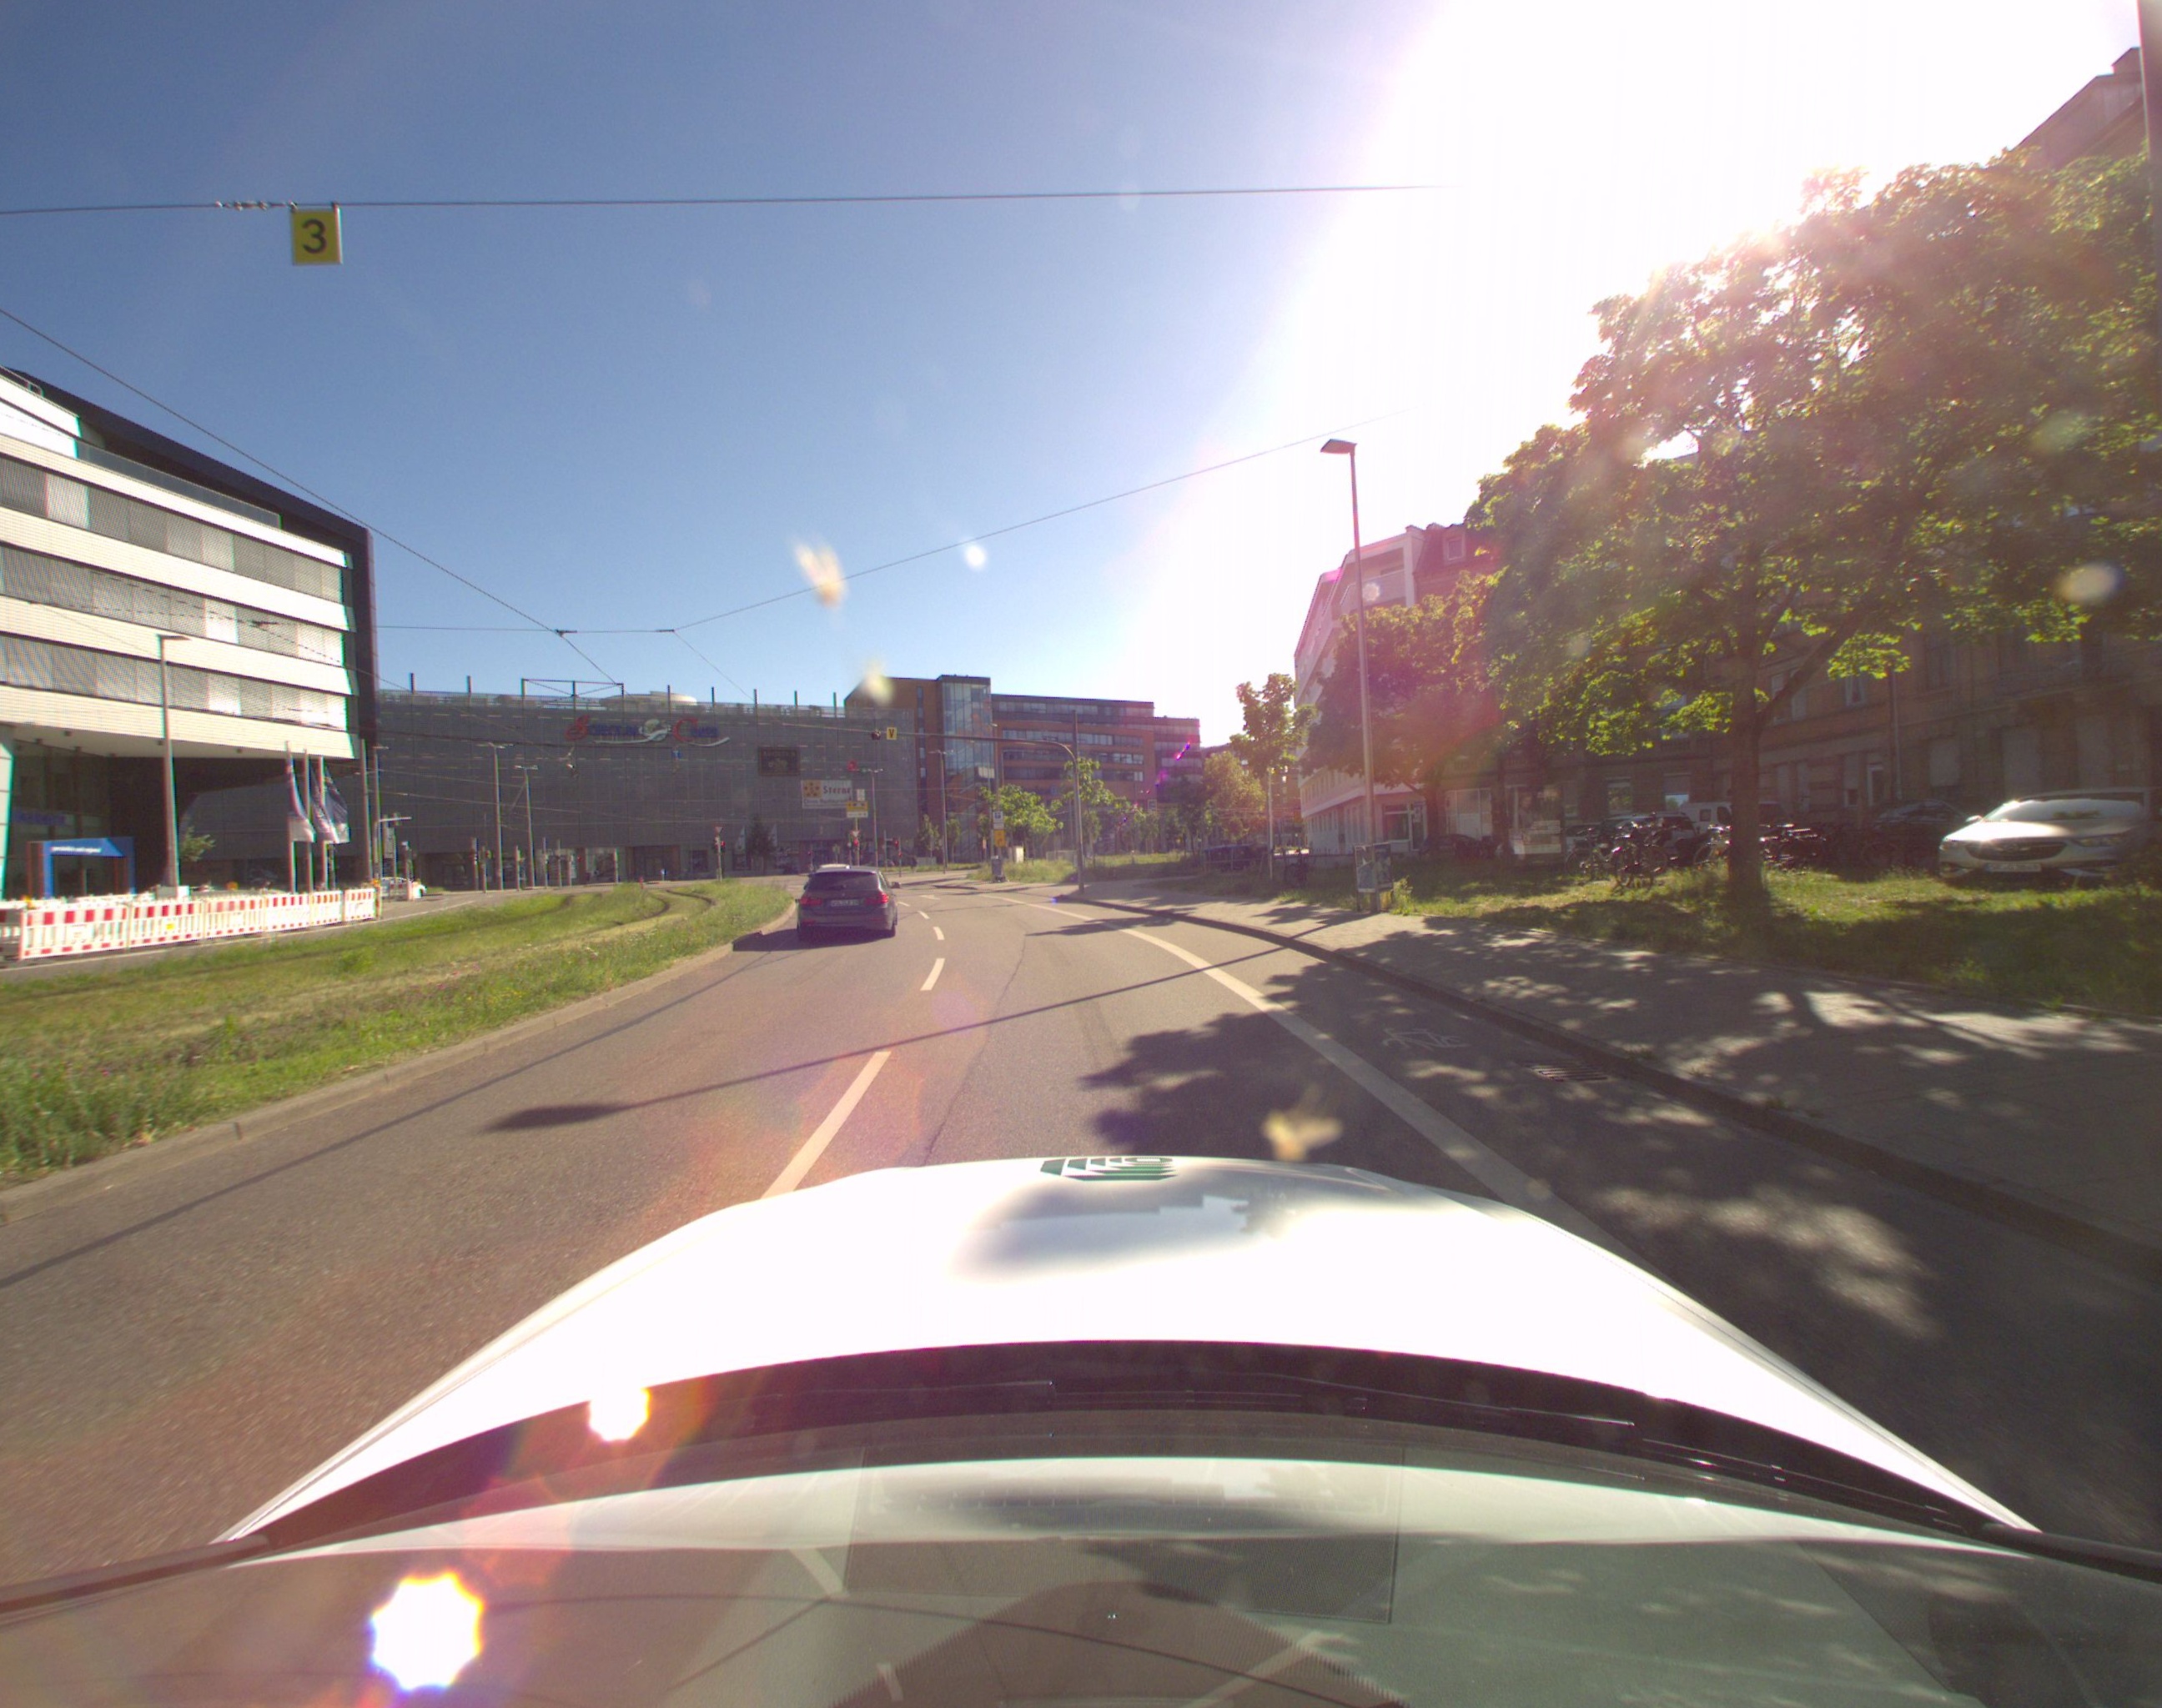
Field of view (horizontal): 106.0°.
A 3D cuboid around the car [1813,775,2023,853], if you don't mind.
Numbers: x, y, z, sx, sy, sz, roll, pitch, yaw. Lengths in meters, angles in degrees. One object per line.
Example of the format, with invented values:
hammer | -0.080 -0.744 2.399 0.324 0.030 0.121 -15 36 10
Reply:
car | 25.035 -1.139 24.670 1.981 1.977 4.738 -4 1 10

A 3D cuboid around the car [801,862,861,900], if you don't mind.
car | -10.200 1.067 33.132 1.642 1.423 3.747 0 -1 -28

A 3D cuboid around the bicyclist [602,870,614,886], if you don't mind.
bicyclist | -55.406 2.834 95.333 0.807 1.803 0.849 -3 0 20

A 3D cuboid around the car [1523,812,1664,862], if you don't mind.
car | 17.051 -0.562 27.157 3.835 1.441 1.752 -3 0 -13

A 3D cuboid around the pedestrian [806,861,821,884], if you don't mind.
pedestrian | -20.404 1.389 62.045 0.891 1.707 0.706 -3 0 -29

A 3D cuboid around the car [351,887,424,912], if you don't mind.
car | -54.464 3.540 64.056 1.737 1.794 4.021 -2 -1 22

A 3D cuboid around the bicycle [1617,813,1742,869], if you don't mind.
bicycle | 13.639 -0.289 18.625 2.151 1.158 0.824 -3 0 6

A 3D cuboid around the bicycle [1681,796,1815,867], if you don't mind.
bicycle | 14.125 -0.466 17.294 2.084 1.365 0.788 -3 0 4

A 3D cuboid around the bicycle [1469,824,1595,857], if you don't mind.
bicycle | 18.430 -0.540 33.670 2.662 1.127 5.230 -3 0 5

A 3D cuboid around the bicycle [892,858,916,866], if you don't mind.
bicycle | -25.868 1.111 118.968 3.374 1.077 1.108 -2 0 -23

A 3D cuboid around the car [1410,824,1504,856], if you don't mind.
car | 19.674 -0.711 42.653 4.054 1.436 2.013 -3 0 37

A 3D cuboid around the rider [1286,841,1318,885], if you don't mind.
rider | 6.440 0.246 23.704 0.497 1.176 1.686 -3 1 27

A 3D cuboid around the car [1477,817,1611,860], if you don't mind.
car | 16.800 -0.572 29.598 4.049 1.337 1.831 -3 0 -14

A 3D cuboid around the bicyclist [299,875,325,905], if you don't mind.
bicyclist | -48.794 2.288 51.685 0.907 1.859 0.846 -3 0 -28

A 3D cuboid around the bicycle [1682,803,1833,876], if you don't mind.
bicycle | 12.568 -0.251 15.197 1.933 1.180 0.902 -4 -1 9

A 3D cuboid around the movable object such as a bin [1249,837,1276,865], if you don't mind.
movable object such as a bin | 9.406 -0.156 42.267 1.019 1.398 1.097 -3 0 30

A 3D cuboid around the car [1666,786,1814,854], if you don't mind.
car | 26.243 -1.321 32.737 2.334 2.357 5.204 -4 1 11

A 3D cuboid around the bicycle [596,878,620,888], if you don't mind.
bicycle | -55.306 3.377 95.299 1.034 1.070 2.257 -3 0 21

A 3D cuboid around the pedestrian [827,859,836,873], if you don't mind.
pedestrian | -31.585 1.489 103.044 0.860 1.738 0.745 -3 0 -35

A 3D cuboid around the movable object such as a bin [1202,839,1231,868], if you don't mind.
movable object such as a bin | 7.117 -0.034 42.755 1.058 1.398 1.312 -3 0 30

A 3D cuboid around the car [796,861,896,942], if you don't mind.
car | -4.782 0.894 16.887 1.737 1.423 4.445 0 -1 -14

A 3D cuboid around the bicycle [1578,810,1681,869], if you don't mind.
bicycle | 14.099 -0.360 20.968 2.087 1.398 0.787 -3 0 -2

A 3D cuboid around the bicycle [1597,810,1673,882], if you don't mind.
bicycle | 10.843 -0.158 15.921 1.606 1.290 0.761 -4 0 -41

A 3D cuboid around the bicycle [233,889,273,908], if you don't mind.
bicycle | -51.077 2.723 50.271 1.587 1.107 0.727 0 -1 -33

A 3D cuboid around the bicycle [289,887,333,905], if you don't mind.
bicycle | -48.832 2.640 51.639 1.839 1.116 0.846 1 -2 -28

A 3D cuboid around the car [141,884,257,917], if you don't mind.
car | -55.068 2.866 50.987 4.517 1.634 1.822 -3 1 -29

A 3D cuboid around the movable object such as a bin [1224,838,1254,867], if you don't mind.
movable object such as a bin | 8.280 -0.083 42.659 1.096 1.398 1.329 -3 0 30

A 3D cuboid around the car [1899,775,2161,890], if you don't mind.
car | 14.373 -0.354 11.769 4.759 1.380 2.030 -3 0 -24

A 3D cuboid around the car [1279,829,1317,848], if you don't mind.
car | 25.721 -1.785 96.362 3.950 2.013 2.012 -3 0 25

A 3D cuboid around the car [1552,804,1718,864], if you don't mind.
car | 16.635 -0.608 24.471 4.473 1.565 1.924 -3 0 -22

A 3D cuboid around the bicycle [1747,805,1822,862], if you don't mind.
bicycle | 17.931 -0.535 20.750 2.107 1.365 0.779 -3 0 -31

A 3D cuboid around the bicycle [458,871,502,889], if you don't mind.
bicycle | -70.788 3.058 95.998 4.010 2.013 1.318 -2 0 -28

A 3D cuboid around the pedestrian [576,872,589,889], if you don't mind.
pedestrian | -57.905 3.042 94.570 0.896 1.868 0.824 -3 0 14

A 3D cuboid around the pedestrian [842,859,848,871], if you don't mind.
pedestrian | -32.450 1.522 112.146 0.593 1.534 0.652 -3 0 -29

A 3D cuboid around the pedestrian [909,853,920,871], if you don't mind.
pedestrian | -16.403 0.794 80.297 0.811 1.708 0.755 -3 0 -29

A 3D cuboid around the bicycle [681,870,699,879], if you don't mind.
bicycle | -50.568 2.672 105.396 2.038 1.059 1.134 -3 0 -29

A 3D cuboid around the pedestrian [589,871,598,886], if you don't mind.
pedestrian | -60.694 3.070 101.358 0.853 1.763 0.614 -3 0 -29

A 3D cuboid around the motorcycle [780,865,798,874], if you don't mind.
motorcycle | -39.758 2.100 110.847 2.215 1.042 1.051 -2 0 -28

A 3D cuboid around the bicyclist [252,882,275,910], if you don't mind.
bicyclist | -50.704 2.586 50.525 0.787 1.648 0.683 -3 0 -31

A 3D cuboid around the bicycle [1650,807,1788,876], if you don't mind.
bicycle | 12.690 -0.239 16.263 1.945 1.192 0.844 -4 0 9

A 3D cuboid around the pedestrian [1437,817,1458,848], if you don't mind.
pedestrian | 18.953 -1.099 42.116 0.776 1.576 0.635 -3 0 -43

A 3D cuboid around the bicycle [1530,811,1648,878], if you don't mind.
bicycle | 11.337 -0.215 18.223 2.084 1.365 0.788 -3 0 4
